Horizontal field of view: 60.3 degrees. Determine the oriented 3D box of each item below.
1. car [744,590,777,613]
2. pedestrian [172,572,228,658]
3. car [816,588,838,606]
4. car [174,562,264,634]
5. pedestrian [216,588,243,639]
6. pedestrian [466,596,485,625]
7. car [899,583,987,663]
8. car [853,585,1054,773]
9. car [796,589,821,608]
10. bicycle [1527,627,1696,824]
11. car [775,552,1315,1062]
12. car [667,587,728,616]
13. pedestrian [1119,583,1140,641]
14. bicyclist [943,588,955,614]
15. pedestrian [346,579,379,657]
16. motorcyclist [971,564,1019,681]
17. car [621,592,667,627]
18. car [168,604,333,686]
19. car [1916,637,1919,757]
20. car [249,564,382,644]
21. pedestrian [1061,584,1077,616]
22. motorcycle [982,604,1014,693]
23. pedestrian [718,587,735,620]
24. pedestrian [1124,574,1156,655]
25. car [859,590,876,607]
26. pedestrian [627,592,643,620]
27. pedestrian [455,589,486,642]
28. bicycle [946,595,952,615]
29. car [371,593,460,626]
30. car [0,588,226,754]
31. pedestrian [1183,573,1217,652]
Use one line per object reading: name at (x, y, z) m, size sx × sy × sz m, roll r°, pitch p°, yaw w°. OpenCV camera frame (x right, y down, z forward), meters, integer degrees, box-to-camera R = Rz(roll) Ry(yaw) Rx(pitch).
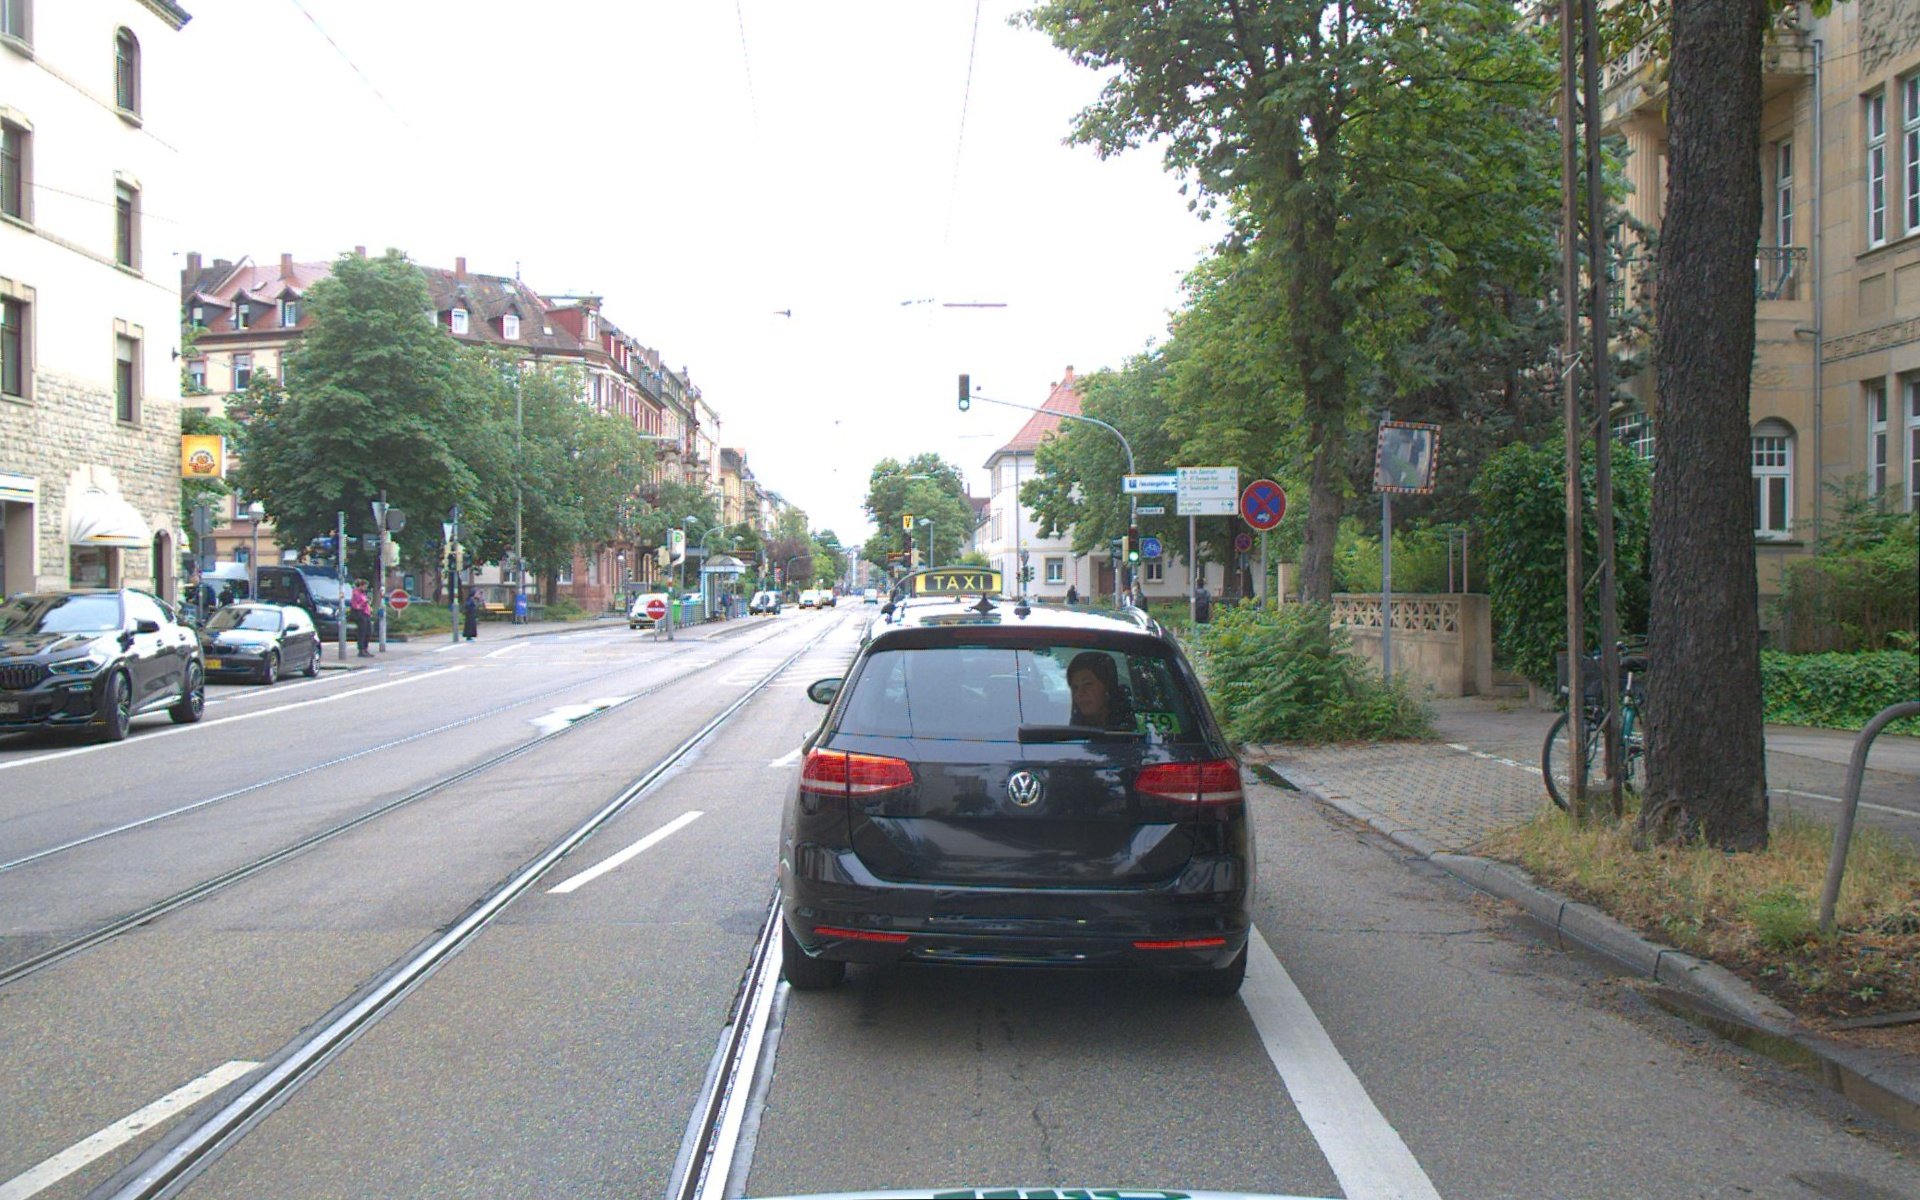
car at (-13.132, 0.084, 108.948) m, size 1.686 × 1.490 × 3.863 m, roll -1°, pitch 0°, yaw 0°
pedestrian at (-18.398, 0.362, 40.075) m, size 0.954 × 2.049 × 0.835 m, roll -1°, pitch 0°, yaw -3°
car at (-12.824, -0.296, 159.126) m, size 1.758 × 1.624 × 4.000 m, roll -1°, pitch 0°, yaw 0°
car at (-27.597, -0.074, 61.500) m, size 2.160 × 2.571 × 5.316 m, roll -1°, pitch 0°, yaw -34°
pedestrian at (-25.267, 0.477, 57.201) m, size 0.694 × 1.745 × 0.543 m, roll 0°, pitch 0°, yaw -43°
pedestrian at (-20.330, 0.432, 69.377) m, size 0.582 × 1.189 × 0.836 m, roll 0°, pitch 0°, yaw -32°
car at (-0.399, 0.433, 34.385) m, size 1.689 × 1.573 × 3.998 m, roll 0°, pitch 0°, yaw -3°
car at (-0.143, 0.649, 15.886) m, size 1.689 × 1.573 × 3.998 m, roll 0°, pitch 0°, yaw -3°
car at (-13.085, -0.164, 142.852) m, size 1.758 × 1.624 × 4.000 m, roll -1°, pitch 0°, yaw 0°
bicycle at (4.420, 0.796, 11.145) m, size 0.425 × 1.219 × 1.892 m, roll 0°, pitch -1°, yaw 42°
car at (0.184, 0.627, 7.151) m, size 1.689 × 1.573 × 3.998 m, roll 0°, pitch 0°, yaw -3°
car at (-15.817, 0.087, 99.775) m, size 1.687 × 1.651 × 3.860 m, roll -1°, pitch 0°, yaw 26°
pedestrian at (5.588, 0.394, 54.538) m, size 0.504 × 1.862 × 0.418 m, roll -3°, pitch 0°, yaw -2°
bicyclist at (-0.696, 0.049, 104.327) m, size 0.637 × 1.596 × 0.696 m, roll -1°, pitch 0°, yaw 4°
pedestrian at (-14.528, 0.426, 40.242) m, size 0.611 × 1.875 × 0.609 m, roll 0°, pitch 0°, yaw -5°
motorcyclist at (0.535, 0.325, 24.862) m, size 0.688 × 1.722 × 0.805 m, roll -1°, pitch 0°, yaw 2°
car at (-13.408, 0.369, 70.255) m, size 1.657 × 1.435 × 3.993 m, roll -1°, pitch 0°, yaw -7°
car at (-13.372, 0.807, 31.429) m, size 1.616 × 1.385 × 4.125 m, roll 2°, pitch 0°, yaw -5°
car at (4.142, 0.819, 3.542) m, size 1.570 × 1.423 × 4.225 m, roll -2°, pitch 0°, yaw -3°
car at (-21.080, 0.114, 53.982) m, size 2.170 × 2.459 × 5.291 m, roll -1°, pitch 0°, yaw -45°
pedestrian at (5.503, -0.008, 83.392) m, size 0.604 × 1.581 × 0.574 m, roll 0°, pitch 0°, yaw -42°
motorcycle at (0.575, 0.702, 24.781) m, size 0.437 × 1.257 × 1.907 m, roll -1°, pitch 0°, yaw 2°
pedestrian at (-10.930, 0.154, 77.308) m, size 0.700 × 1.547 × 0.589 m, roll 0°, pitch 0°, yaw -1°
pedestrian at (4.260, 0.334, 39.199) m, size 0.573 × 1.862 × 0.604 m, roll -3°, pitch 0°, yaw -2°
car at (-11.702, -0.198, 209.253) m, size 1.992 × 2.049 × 3.998 m, roll 1°, pitch 0°, yaw -3°
pedestrian at (-17.842, 0.328, 90.914) m, size 0.577 × 1.547 × 0.647 m, roll 0°, pitch 0°, yaw 33°
pedestrian at (-15.757, 0.507, 53.279) m, size 0.819 × 1.692 × 0.591 m, roll 0°, pitch 0°, yaw -1°
bicycle at (-0.695, 0.328, 104.315) m, size 0.291 × 1.244 × 1.431 m, roll -1°, pitch 0°, yaw 5°
car at (-28.398, 0.479, 86.302) m, size 3.967 × 1.624 × 1.969 m, roll -1°, pitch 0°, yaw -43°
car at (-10.215, 0.748, 19.341) m, size 1.850 × 1.639 × 4.874 m, roll -3°, pitch 1°, yaw -11°
pedestrian at (5.624, 0.289, 38.747) m, size 0.619 × 1.846 × 0.725 m, roll 0°, pitch 0°, yaw -5°
